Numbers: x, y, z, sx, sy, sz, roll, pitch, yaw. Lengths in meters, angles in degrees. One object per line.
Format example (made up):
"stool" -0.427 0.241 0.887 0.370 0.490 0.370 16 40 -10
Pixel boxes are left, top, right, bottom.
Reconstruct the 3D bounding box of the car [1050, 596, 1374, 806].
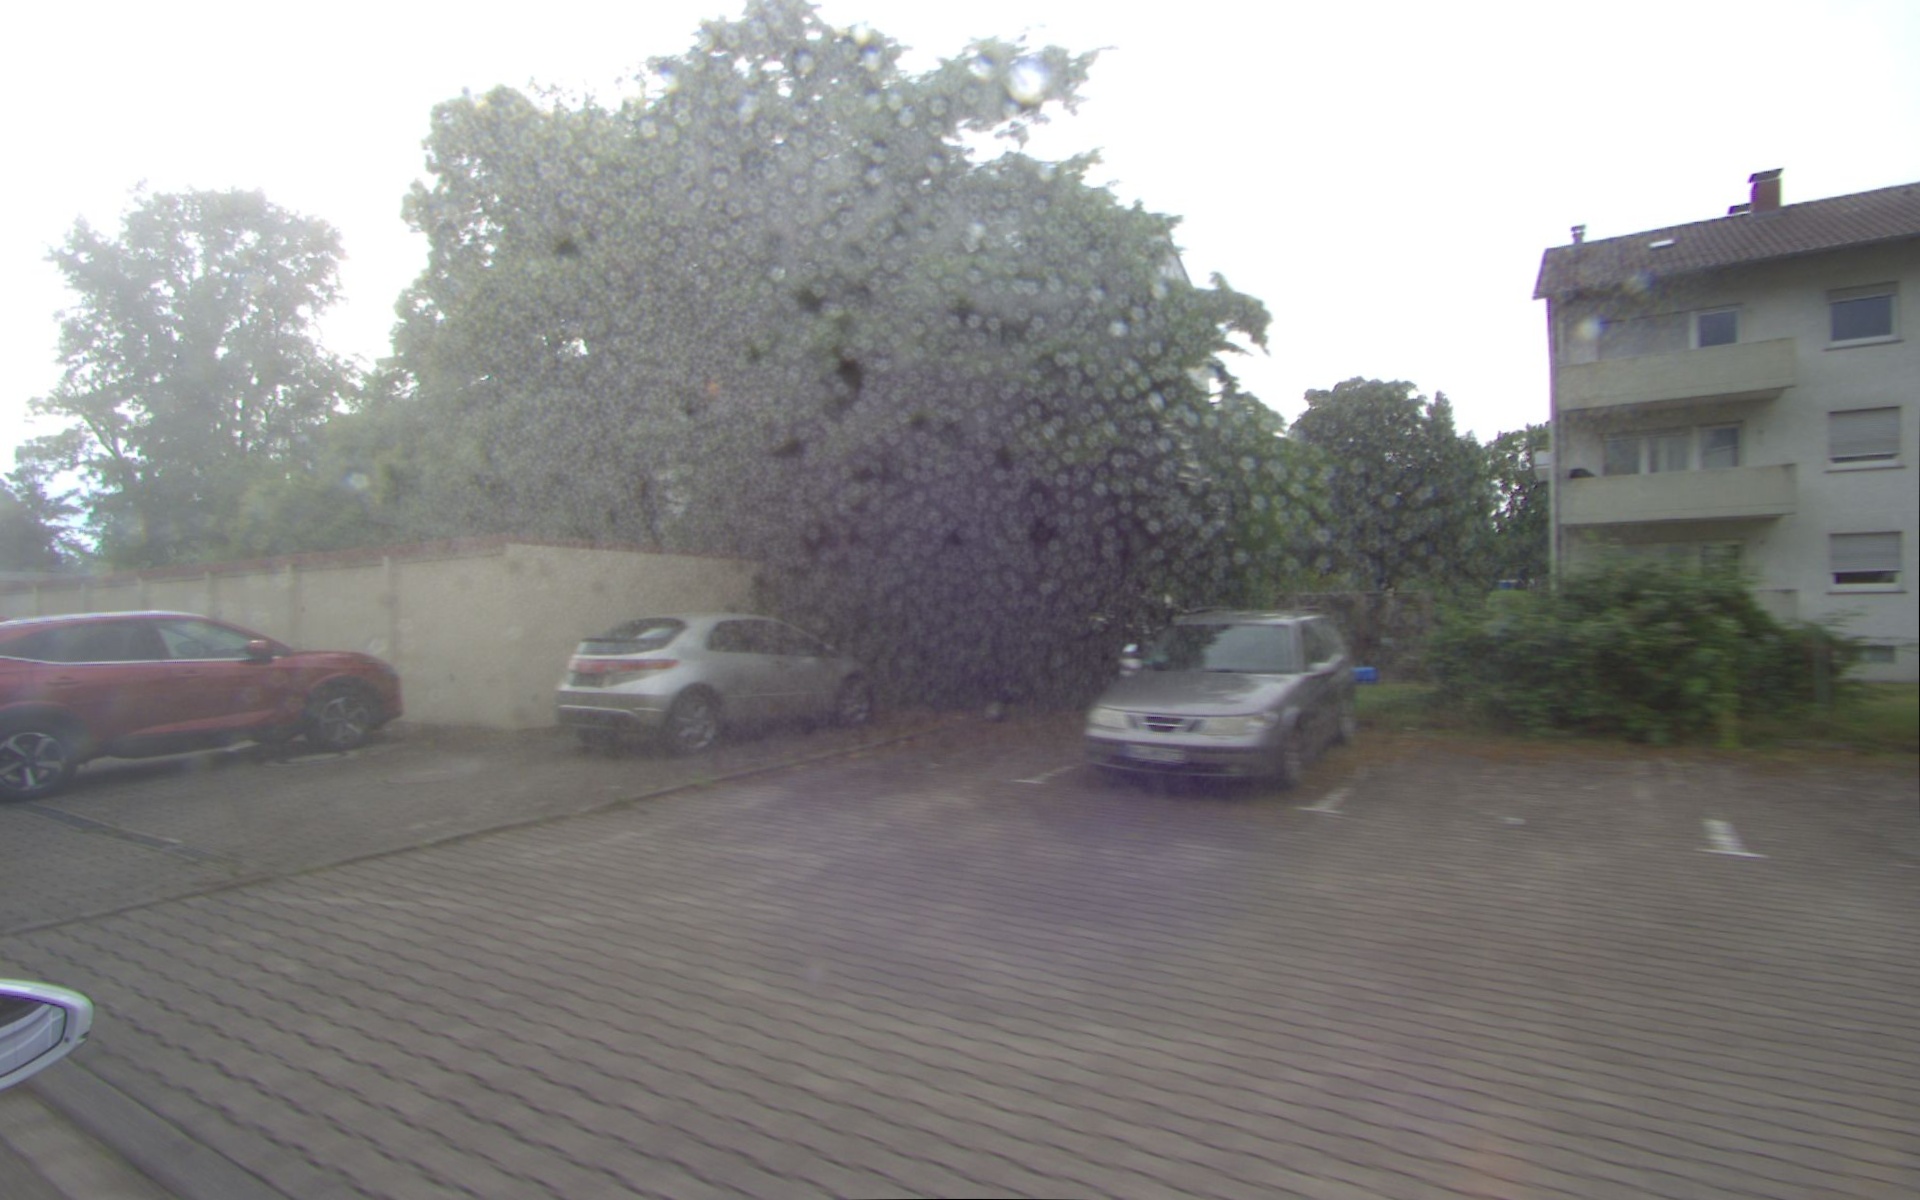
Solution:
"car" 2.711 0.773 9.830 1.840 1.550 4.566 -1 -1 31

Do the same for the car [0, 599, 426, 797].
"car" -8.147 0.848 10.324 1.907 1.607 4.279 -1 1 31

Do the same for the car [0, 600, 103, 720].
"car" -15.503 0.930 14.564 1.971 1.750 4.186 -1 1 32

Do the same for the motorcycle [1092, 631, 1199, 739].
"motorcycle" 2.236 0.965 11.937 0.710 1.138 1.606 -1 1 32

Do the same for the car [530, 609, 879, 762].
"car" -2.796 0.854 11.721 1.689 1.466 3.816 -1 -1 34
